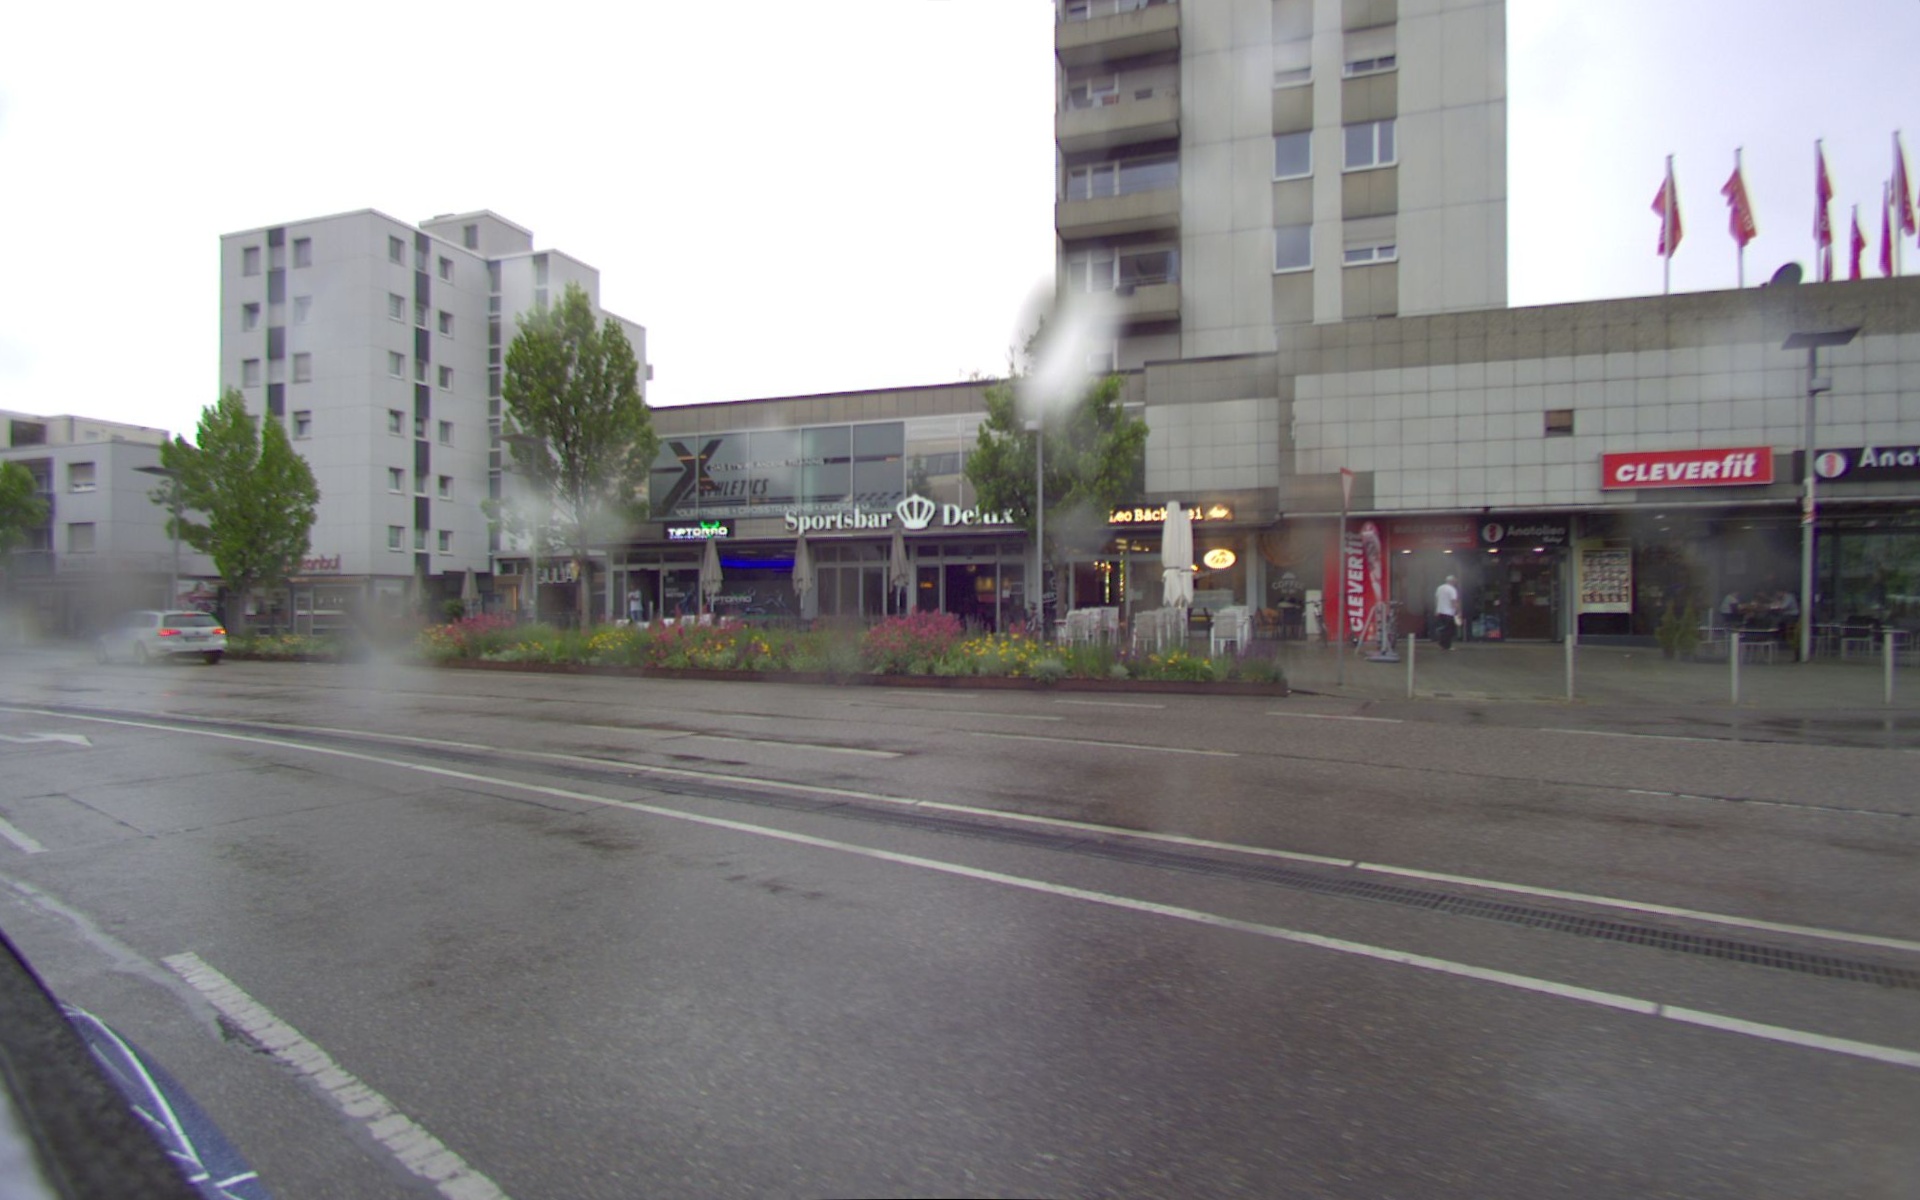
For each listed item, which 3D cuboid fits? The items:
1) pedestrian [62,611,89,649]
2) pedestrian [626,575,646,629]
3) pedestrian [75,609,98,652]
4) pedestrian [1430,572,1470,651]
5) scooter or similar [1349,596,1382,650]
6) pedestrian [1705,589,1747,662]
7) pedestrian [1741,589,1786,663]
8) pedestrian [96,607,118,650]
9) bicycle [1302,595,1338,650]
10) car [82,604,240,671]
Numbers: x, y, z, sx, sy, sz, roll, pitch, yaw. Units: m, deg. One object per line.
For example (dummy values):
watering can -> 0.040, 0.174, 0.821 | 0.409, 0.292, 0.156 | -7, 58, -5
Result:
pedestrian -> -35.780, 1.216, 40.947 | 0.606, 1.516, 0.537 | -1, -1, -4
pedestrian -> -11.253, 0.085, 35.151 | 0.499, 1.862, 0.423 | -1, -1, 29
pedestrian -> -33.982, 1.190, 39.364 | 0.532, 1.672, 0.476 | -1, -1, 20
pedestrian -> 10.904, 0.254, 22.522 | 0.713, 1.706, 0.649 | -1, -1, 33
scooter or similar -> 9.426, 0.509, 23.582 | 0.638, 1.183, 2.575 | -1, -1, 21
pedestrian -> 14.635, 0.472, 19.339 | 0.489, 1.358, 0.538 | 0, 0, -38
pedestrian -> 14.975, 0.482, 18.860 | 0.489, 1.358, 0.538 | 0, -1, -36
pedestrian -> -33.677, 1.135, 39.967 | 0.477, 1.672, 0.532 | -1, -1, 25
bicycle -> 8.591, 0.512, 24.103 | 0.692, 1.232, 2.535 | -1, 0, 21
car -> -21.878, 0.986, 27.671 | 4.487, 1.695, 1.873 | -1, 0, 30
